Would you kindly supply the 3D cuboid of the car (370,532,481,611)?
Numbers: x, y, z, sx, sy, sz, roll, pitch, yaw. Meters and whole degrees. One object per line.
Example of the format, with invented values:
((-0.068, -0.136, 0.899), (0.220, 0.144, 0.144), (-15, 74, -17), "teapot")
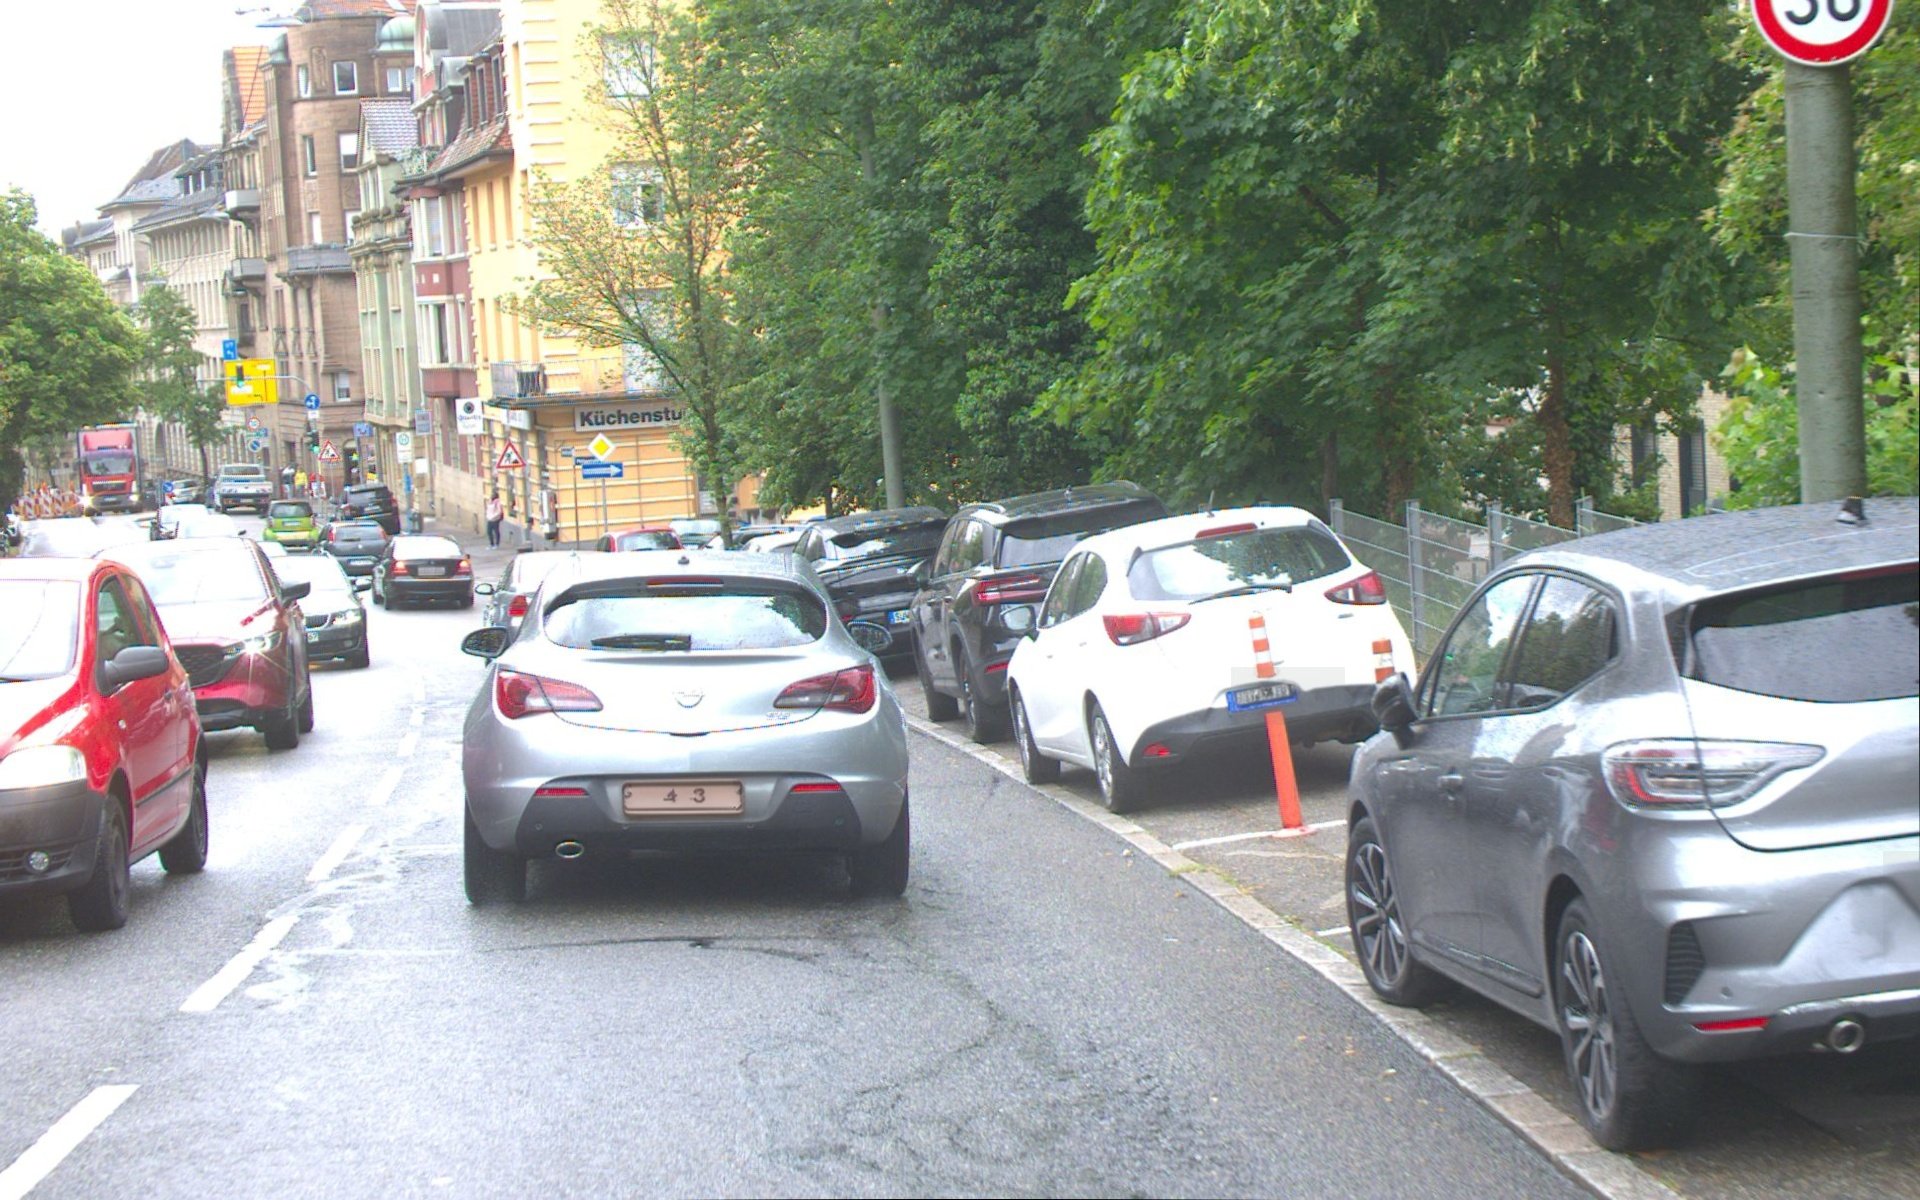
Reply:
((-10.374, -0.572, 66.596), (1.767, 1.410, 3.718), (-1, 2, -14), "car")

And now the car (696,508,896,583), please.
((-3.372, -1.104, 70.292), (3.772, 1.425, 1.782), (1, 0, -14), "car")

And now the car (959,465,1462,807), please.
((1.280, 0.169, 19.390), (1.815, 1.490, 4.001), (-8, 1, -8), "car")

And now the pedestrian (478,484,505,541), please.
((-12.740, -2.385, 93.474), (0.613, 1.491, 0.553), (-3, 4, -11), "pedestrian")

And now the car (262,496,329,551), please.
((-19.618, -2.252, 101.414), (1.639, 1.531, 3.718), (-3, 2, -15), "car")

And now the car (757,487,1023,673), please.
((-0.794, -0.210, 35.090), (1.975, 1.603, 4.486), (-5, 1, -9), "car")

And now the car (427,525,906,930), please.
((-1.345, 0.451, 15.411), (1.814, 1.424, 4.001), (-2, 3, -6), "car")

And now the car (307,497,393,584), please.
((-14.360, -1.422, 80.834), (1.639, 1.683, 3.719), (-3, 6, -14), "car")

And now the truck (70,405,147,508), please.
((-36.976, -6.308, 149.119), (2.788, 4.117, 10.857), (-3, 4, -15), "truck")

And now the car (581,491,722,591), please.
((-5.415, -1.012, 59.959), (1.814, 1.462, 4.001), (-7, 2, -12), "car")

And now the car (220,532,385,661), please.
((-8.336, -0.085, 43.877), (1.737, 1.468, 4.283), (-3, 2, -7), "car")

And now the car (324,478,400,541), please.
((-19.060, -2.858, 109.485), (1.993, 1.683, 4.001), (-8, 2, -13), "car")

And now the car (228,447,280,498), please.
((-27.933, -5.027, 135.958), (1.781, 1.848, 4.001), (-2, 1, -14), "car")

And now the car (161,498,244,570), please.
((-19.226, -1.691, 87.353), (1.822, 1.645, 4.001), (-4, 2, -10), "car")

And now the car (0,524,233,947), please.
((-4.289, 0.489, 14.823), (1.654, 1.563, 4.001), (-2, 2, -4), "car")

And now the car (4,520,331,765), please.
((-6.064, 0.252, 26.765), (1.845, 1.578, 4.280), (-6, 2, -6), "car")

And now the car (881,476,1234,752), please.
((0.598, 0.029, 25.212), (1.821, 1.677, 4.805), (-5, 2, -6), "car")

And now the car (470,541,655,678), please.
((-4.492, 0.070, 38.455), (1.775, 1.425, 3.787), (-1, 1, -11), "car")

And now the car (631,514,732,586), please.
((-6.227, -1.140, 77.292), (1.776, 1.424, 3.786), (-1, 3, 2), "car")

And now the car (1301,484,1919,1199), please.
((2.133, 0.463, 9.202), (1.649, 1.399, 3.814), (-6, 2, -4), "car")

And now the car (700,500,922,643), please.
((-1.845, -0.337, 41.208), (1.975, 1.447, 4.115), (-5, 1, -11), "car")
